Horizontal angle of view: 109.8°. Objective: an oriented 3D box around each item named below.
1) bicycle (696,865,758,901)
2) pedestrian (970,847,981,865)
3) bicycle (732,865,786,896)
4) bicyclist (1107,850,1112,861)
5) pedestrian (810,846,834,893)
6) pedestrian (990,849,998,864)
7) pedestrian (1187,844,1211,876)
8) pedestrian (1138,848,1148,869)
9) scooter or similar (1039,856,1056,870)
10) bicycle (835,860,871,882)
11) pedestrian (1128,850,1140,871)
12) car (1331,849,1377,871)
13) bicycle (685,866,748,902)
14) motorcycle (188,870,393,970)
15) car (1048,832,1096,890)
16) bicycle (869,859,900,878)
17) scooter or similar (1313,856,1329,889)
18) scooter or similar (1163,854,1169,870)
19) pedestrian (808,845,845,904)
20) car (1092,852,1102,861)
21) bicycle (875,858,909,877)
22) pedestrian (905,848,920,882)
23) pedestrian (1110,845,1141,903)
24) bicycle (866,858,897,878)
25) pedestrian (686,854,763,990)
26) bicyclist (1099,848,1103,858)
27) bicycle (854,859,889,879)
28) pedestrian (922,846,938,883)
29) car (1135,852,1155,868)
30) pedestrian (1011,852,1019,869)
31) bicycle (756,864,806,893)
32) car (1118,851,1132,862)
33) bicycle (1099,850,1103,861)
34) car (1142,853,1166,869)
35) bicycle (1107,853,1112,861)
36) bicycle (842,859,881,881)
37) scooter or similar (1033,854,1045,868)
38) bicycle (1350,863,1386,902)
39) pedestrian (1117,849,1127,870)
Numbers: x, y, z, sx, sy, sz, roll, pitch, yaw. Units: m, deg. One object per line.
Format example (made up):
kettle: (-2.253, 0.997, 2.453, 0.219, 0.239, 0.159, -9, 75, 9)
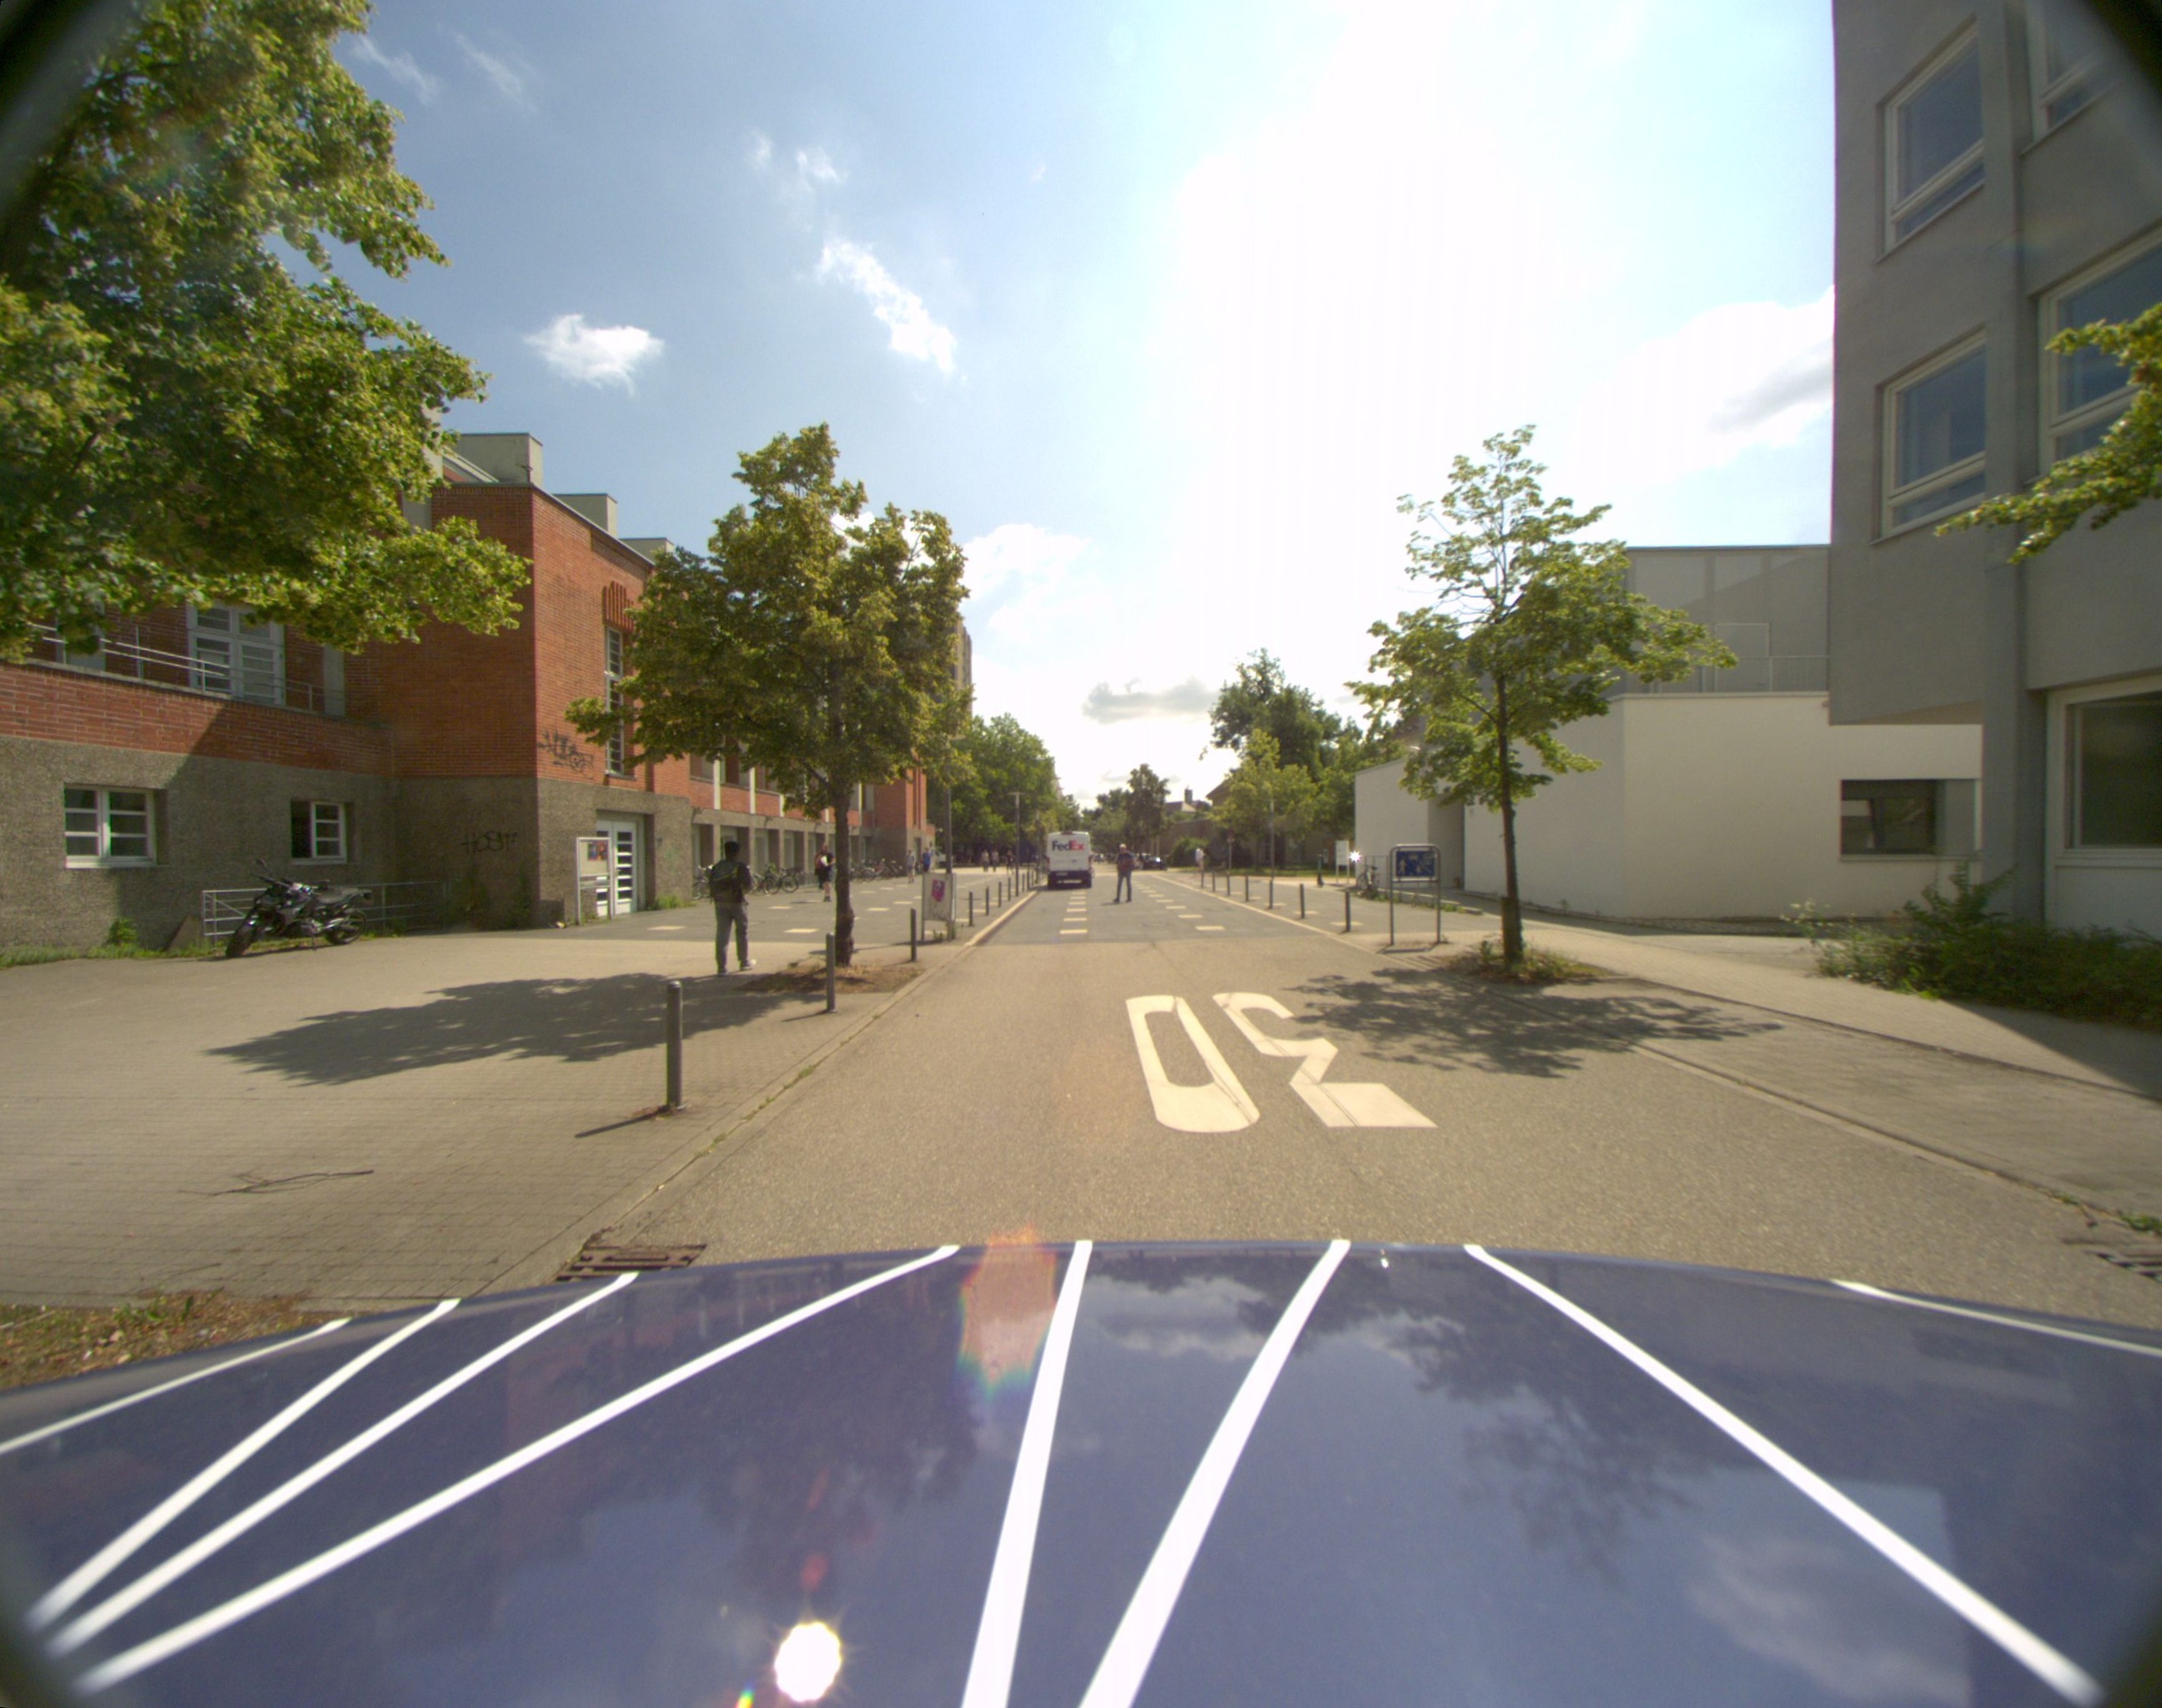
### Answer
bicycle: (-11.688, 0.956, 25.105, 1.757, 1.143, 0.517, 0, 1, -1)
pedestrian: (-12.127, 0.196, 87.100, 0.984, 1.935, 0.976, -4, 3, -22)
bicycle: (-11.666, 0.954, 27.546, 1.752, 1.103, 0.435, 0, 1, -1)
bicyclist: (4.188, 0.174, 112.166, 0.630, 1.597, 1.328, 0, 1, -1)
pedestrian: (-10.286, 0.592, 30.144, 0.665, 1.823, 0.906, -1, 1, -4)
pedestrian: (-10.057, 0.316, 87.528, 0.752, 1.663, 0.844, 0, 0, -22)
pedestrian: (6.908, 0.338, 44.475, 1.022, 1.837, 0.918, 2, 1, 31)
pedestrian: (5.202, 0.383, 63.697, 0.558, 1.706, 0.972, -1, 1, -11)
scooter or similar: (-2.822, 0.767, 64.044, 1.352, 1.223, 0.577, 0, 0, 35)
bicycle: (-11.486, 0.860, 38.252, 1.687, 1.103, 0.435, 0, 1, -1)
pedestrian: (4.448, 0.529, 63.502, 0.726, 1.776, 0.899, -1, 1, -12)
car: (21.045, 0.419, 58.785, 1.899, 1.572, 4.648, 0, 2, 0)
bicycle: (-11.591, 0.946, 24.178, 1.757, 1.143, 0.435, 0, 1, -1)
motorcycle: (-11.888, 0.932, 11.569, 0.697, 1.315, 2.220, 0, 1, 3)
car: (-0.470, 0.286, 35.726, 2.064, 2.528, 5.848, 0, 0, -1)
bicycle: (-11.396, 0.820, 44.063, 1.699, 1.103, 0.435, 0, 1, -1)
scooter or similar: (9.392, 0.706, 29.712, 0.483, 1.256, 1.314, 0, 1, 13)
scooter or similar: (6.835, 0.633, 61.221, 0.470, 1.209, 1.205, 0, 1, 5)
pedestrian: (-8.179, 0.641, 24.447, 0.846, 1.823, 1.197, -1, 1, -5)
car: (2.984, 0.497, 140.675, 1.932, 1.624, 4.372, -1, 0, 1)
bicycle: (-11.391, 0.797, 45.870, 1.935, 1.103, 0.456, 0, 1, -1)
pedestrian: (-8.743, 0.562, 39.473, 0.586, 1.697, 1.001, 0, 2, -3)
pedestrian: (1.405, 0.618, 24.355, 0.825, 1.807, 1.144, -1, 1, -5)
bicycle: (-11.388, 0.810, 43.366, 1.655, 1.103, 0.435, 0, 1, -1)
pedestrian: (-4.610, 0.844, 9.862, 0.643, 1.687, 0.792, -1, 1, -5)
bicyclist: (2.993, -0.144, 111.746, 0.587, 1.444, 1.233, 0, 1, 2)
bicycle: (-11.492, 0.816, 41.740, 1.801, 1.103, 0.435, 0, 1, -1)
pedestrian: (-7.831, 0.515, 39.423, 0.666, 1.879, 1.109, 0, 2, -2)
car: (6.023, 0.516, 71.812, 1.635, 1.423, 3.632, -1, 0, 0)
pedestrian: (-6.379, 0.638, 73.480, 0.785, 1.666, 1.078, 0, 1, -6)
bicycle: (-11.445, 0.926, 29.001, 1.687, 1.103, 0.435, 0, 1, -1)
car: (6.477, 0.324, 112.919, 1.932, 1.624, 4.372, -1, 0, 1)
bicycle: (2.998, 0.228, 111.705, 0.588, 1.670, 1.759, 0, 1, 2)
car: (6.236, 0.588, 65.218, 1.701, 1.287, 3.762, 0, 0, 1)
bicycle: (4.188, 0.489, 112.034, 0.626, 1.135, 1.812, 0, 0, -1)
bicycle: (-11.530, 0.841, 39.927, 1.916, 1.103, 0.435, 0, 1, -1)
scooter or similar: (-3.659, 0.634, 66.267, 0.575, 1.173, 1.479, 0, 0, 14)
bicycle: (8.552, 0.827, 22.704, 0.544, 1.055, 1.900, 0, 0, 5)
pedestrian: (3.408, 0.437, 63.385, 0.622, 1.706, 1.004, 0, 0, -12)
